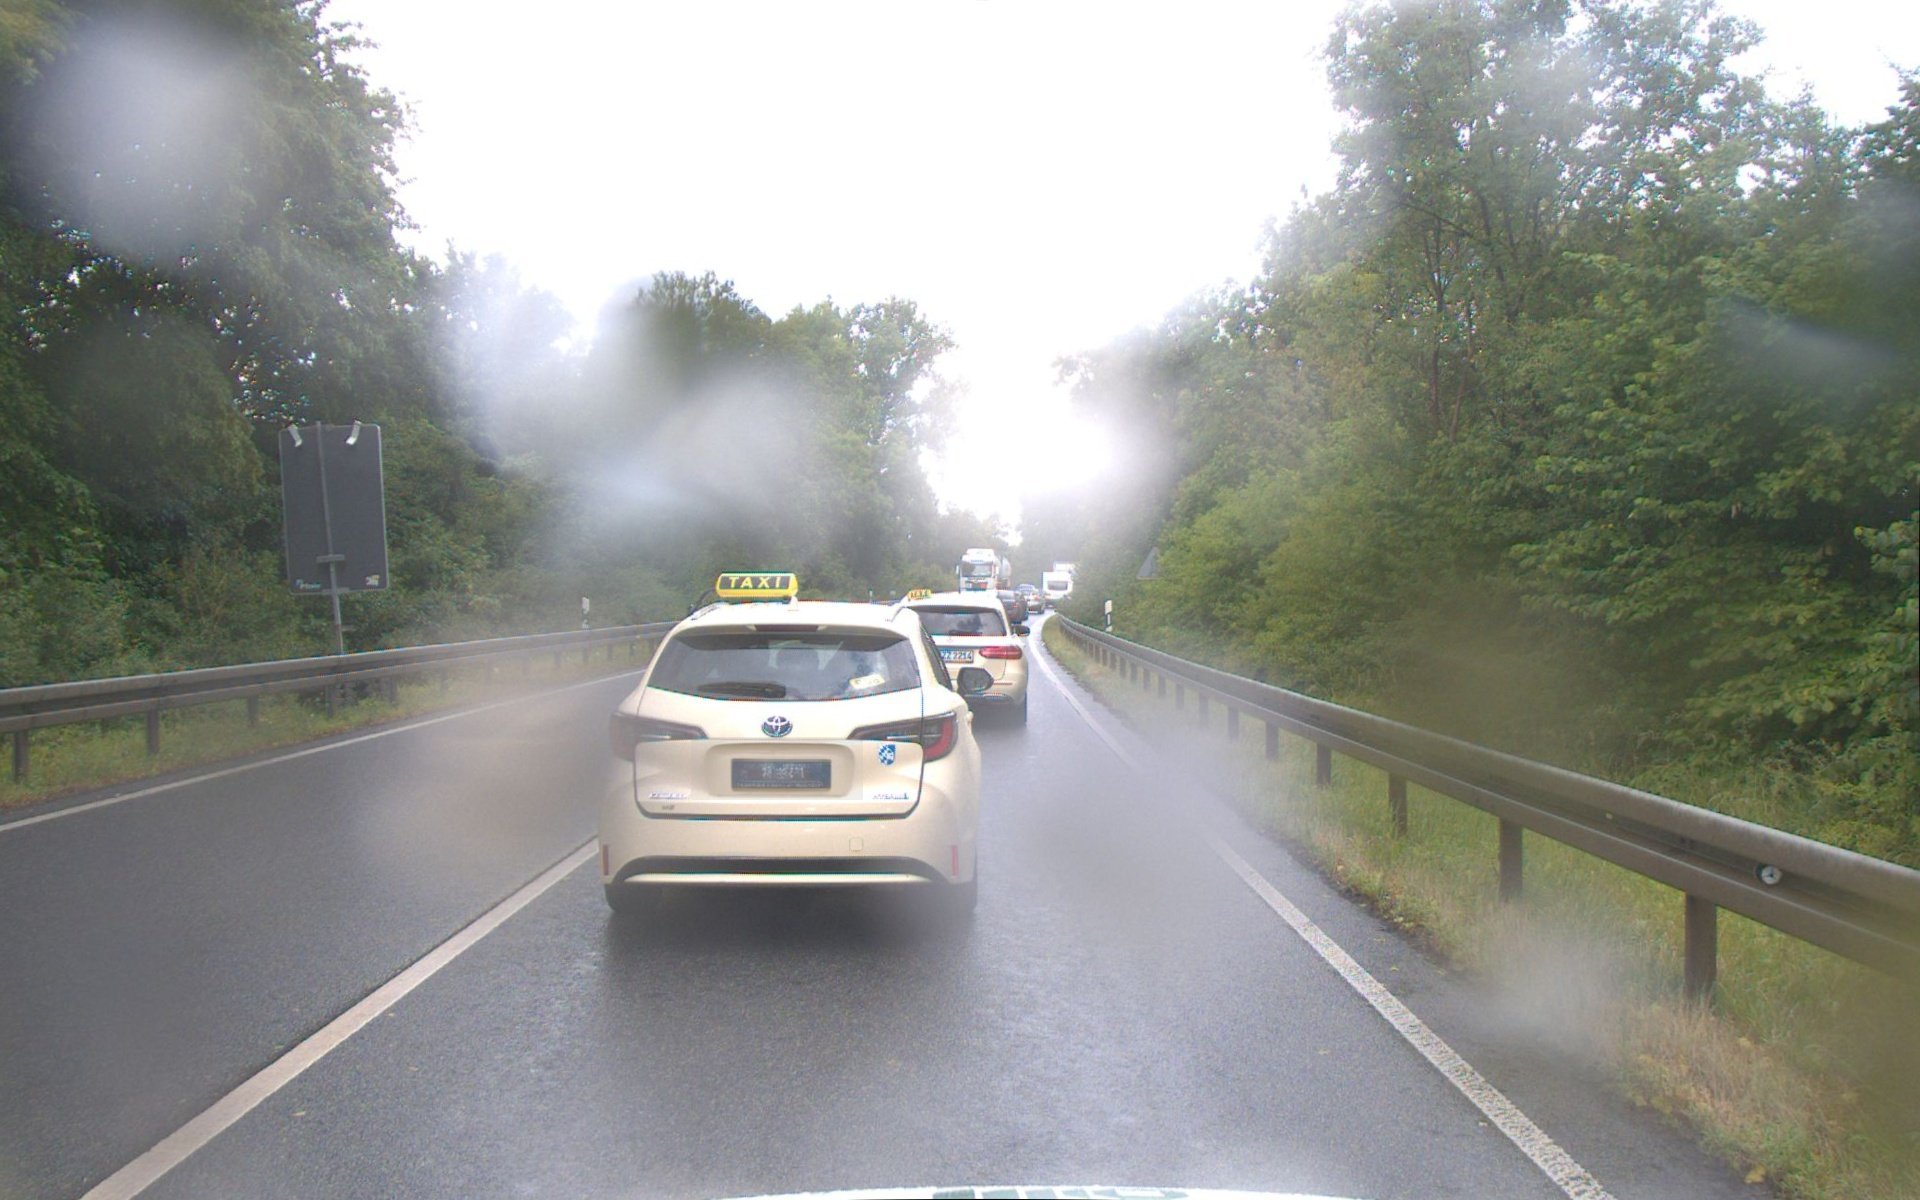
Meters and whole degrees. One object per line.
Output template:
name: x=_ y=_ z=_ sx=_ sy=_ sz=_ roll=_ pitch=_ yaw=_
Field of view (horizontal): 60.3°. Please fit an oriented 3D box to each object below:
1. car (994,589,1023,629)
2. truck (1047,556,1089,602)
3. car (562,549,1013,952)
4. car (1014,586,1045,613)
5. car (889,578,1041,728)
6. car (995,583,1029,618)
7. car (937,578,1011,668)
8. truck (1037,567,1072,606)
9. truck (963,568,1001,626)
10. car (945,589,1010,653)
car: x=1.957 y=0.354 z=66.485 sx=1.143 sy=1.574 sz=2.604 roll=1 pitch=0 yaw=2
truck: x=9.292 y=-1.767 z=142.113 sx=3.041 sy=3.745 sz=7.005 roll=1 pitch=0 yaw=8
car: x=-0.731 y=0.622 z=8.786 sx=1.796 sy=1.608 sz=4.155 roll=1 pitch=0 yaw=-1
car: x=4.250 y=-0.010 z=100.873 sx=1.732 sy=1.574 sz=3.816 roll=1 pitch=0 yaw=5
car: x=0.057 y=0.589 z=19.962 sx=1.633 sy=1.608 sz=3.892 roll=1 pitch=0 yaw=0
car: x=2.509 y=0.035 z=80.355 sx=1.583 sy=1.641 sz=3.622 roll=1 pitch=0 yaw=1
car: x=0.262 y=0.417 z=30.801 sx=1.274 sy=1.574 sz=3.260 roll=1 pitch=0 yaw=0
truck: x=7.012 y=-0.944 z=123.583 sx=2.496 sy=2.760 sz=7.537 roll=1 pitch=0 yaw=3
truck: x=1.488 y=-0.165 z=114.813 sx=2.484 sy=3.892 sz=5.244 roll=1 pitch=0 yaw=0
car: x=0.436 y=0.504 z=42.705 sx=1.578 sy=1.574 sz=3.814 roll=0 pitch=0 yaw=0
